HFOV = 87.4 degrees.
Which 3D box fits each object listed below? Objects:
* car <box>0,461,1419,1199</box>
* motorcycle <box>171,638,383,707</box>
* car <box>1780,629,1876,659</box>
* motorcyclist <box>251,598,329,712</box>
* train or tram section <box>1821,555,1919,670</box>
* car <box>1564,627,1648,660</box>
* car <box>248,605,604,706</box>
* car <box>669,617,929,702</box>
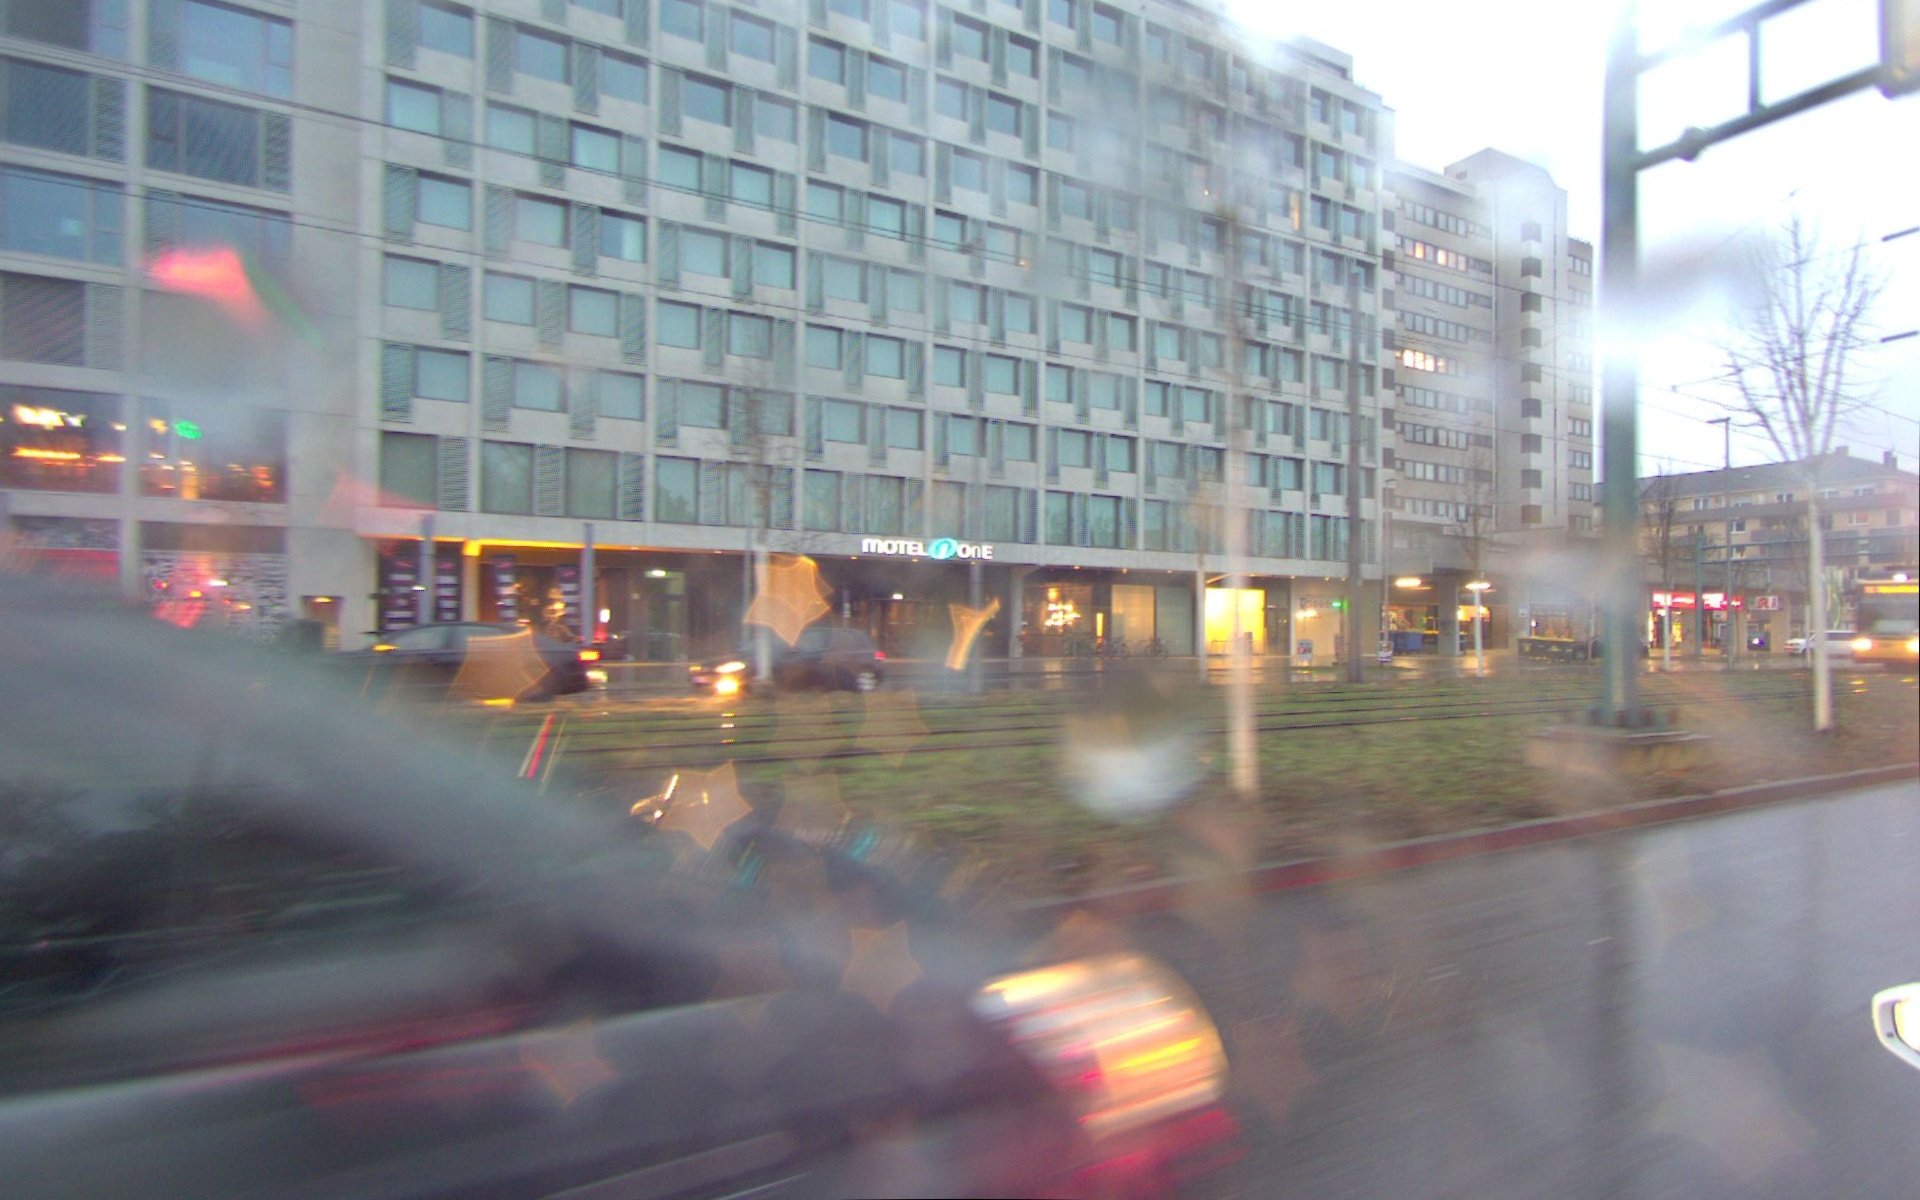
[{"bbox_3d":[-1.404,0.691,1.388,3.953,1.615,1.751,2,0,-30],"label":"car"},{"bbox_3d":[-11.668,1.221,17.335,2.932,1.071,0.866,2,0,-30],"label":"motorcycle"},{"bbox_3d":[62.183,3.127,72.053,4.787,2.040,2.000,0,-1,19],"label":"car"},{"bbox_3d":[-11.570,0.929,17.393,1.021,1.910,0.867,1,0,-30],"label":"motorcyclist"},{"bbox_3d":[33.131,0.537,34.313,9.051,3.550,2.829,2,-3,-30],"label":"train or tram section"},{"bbox_3d":[37.317,2.507,58.133,3.744,1.821,1.910,0,-1,19],"label":"car"},{"bbox_3d":[-8.867,0.893,17.057,5.035,1.481,1.984,2,0,-30],"label":"car"},{"bbox_3d":[-3.167,1.139,20.593,5.061,1.481,1.974,2,-1,-45],"label":"car"}]
